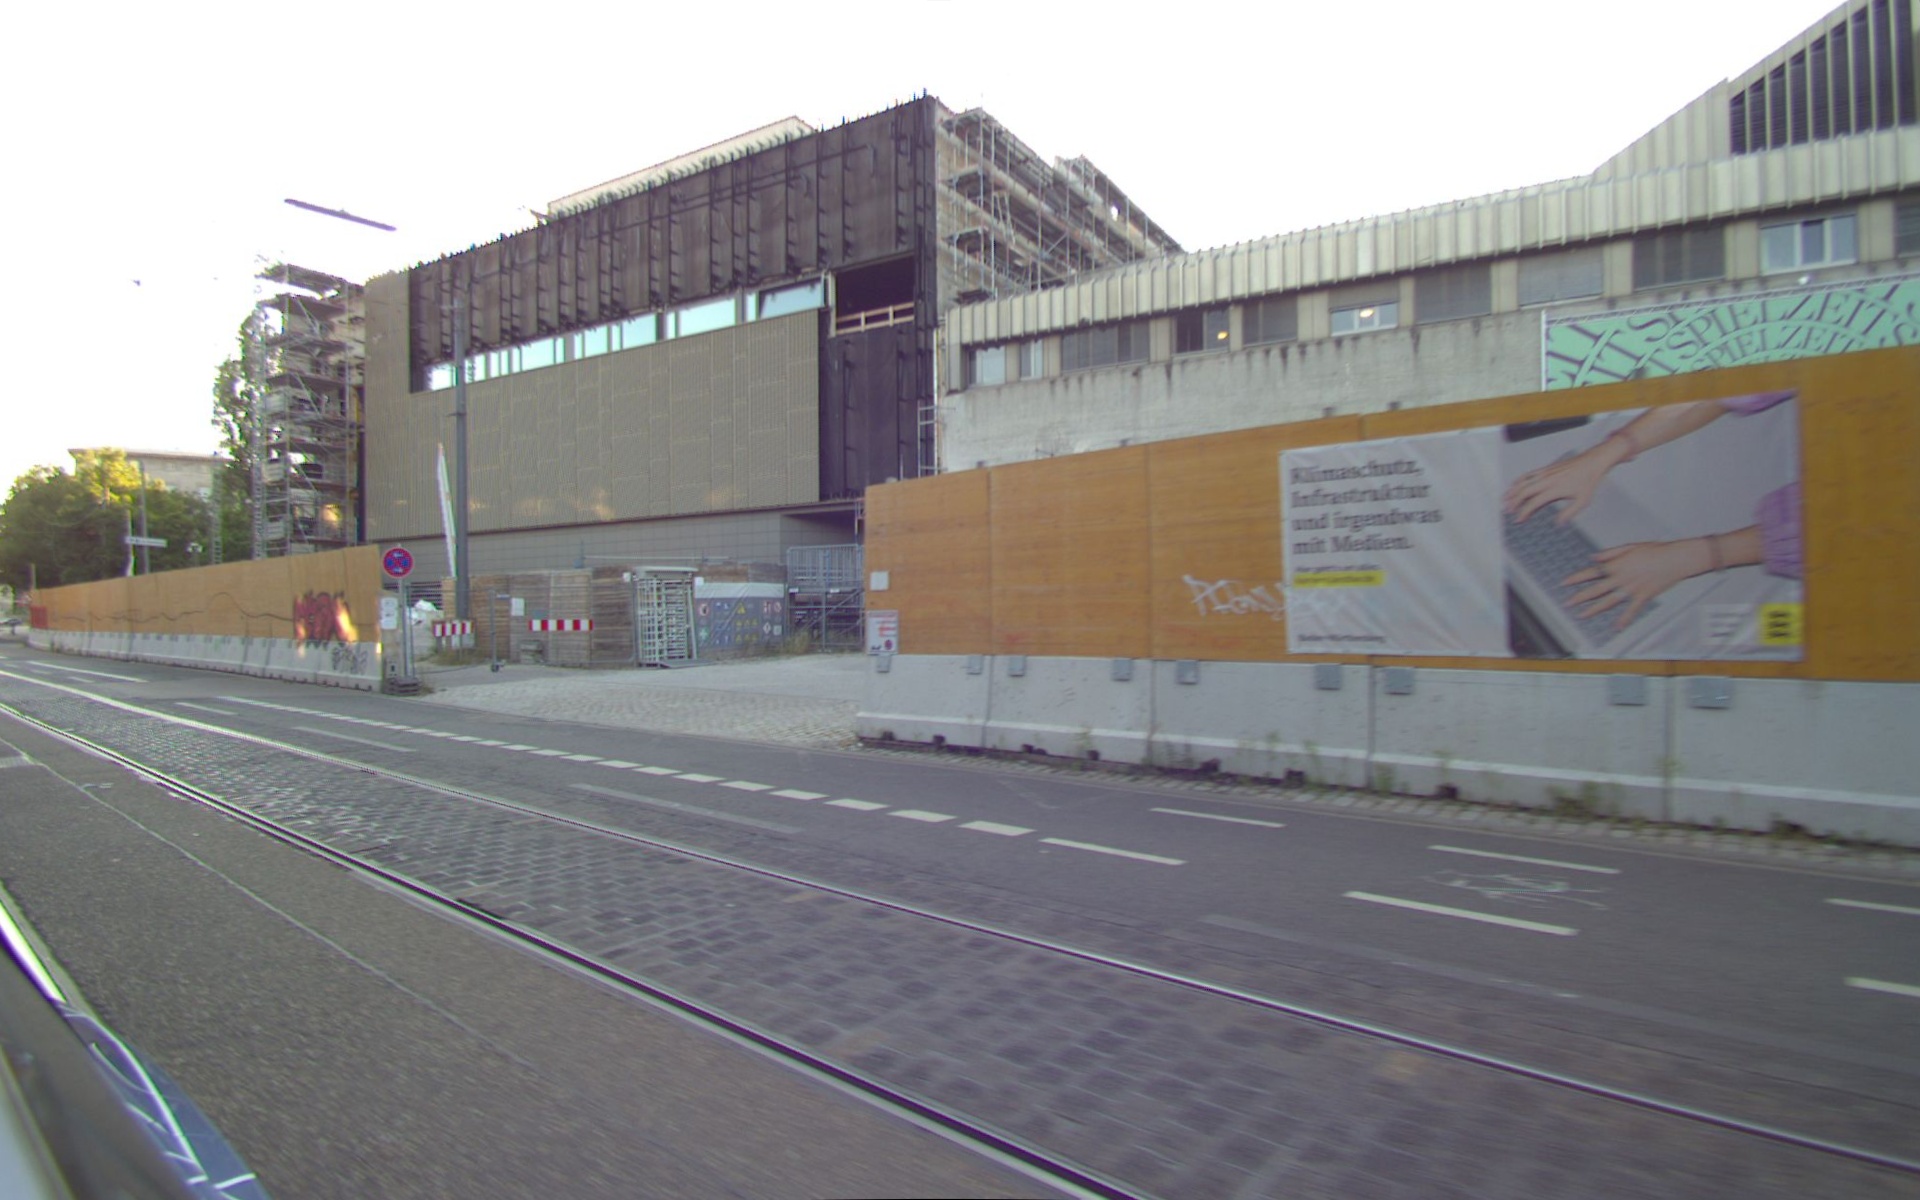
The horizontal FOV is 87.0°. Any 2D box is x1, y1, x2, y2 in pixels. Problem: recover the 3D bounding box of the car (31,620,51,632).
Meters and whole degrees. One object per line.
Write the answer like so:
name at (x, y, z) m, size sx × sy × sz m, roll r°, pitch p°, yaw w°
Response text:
car at (-132.665, 3.720, 146.125) m, size 1.968 × 1.696 × 4.007 m, roll 0°, pitch -1°, yaw -39°
